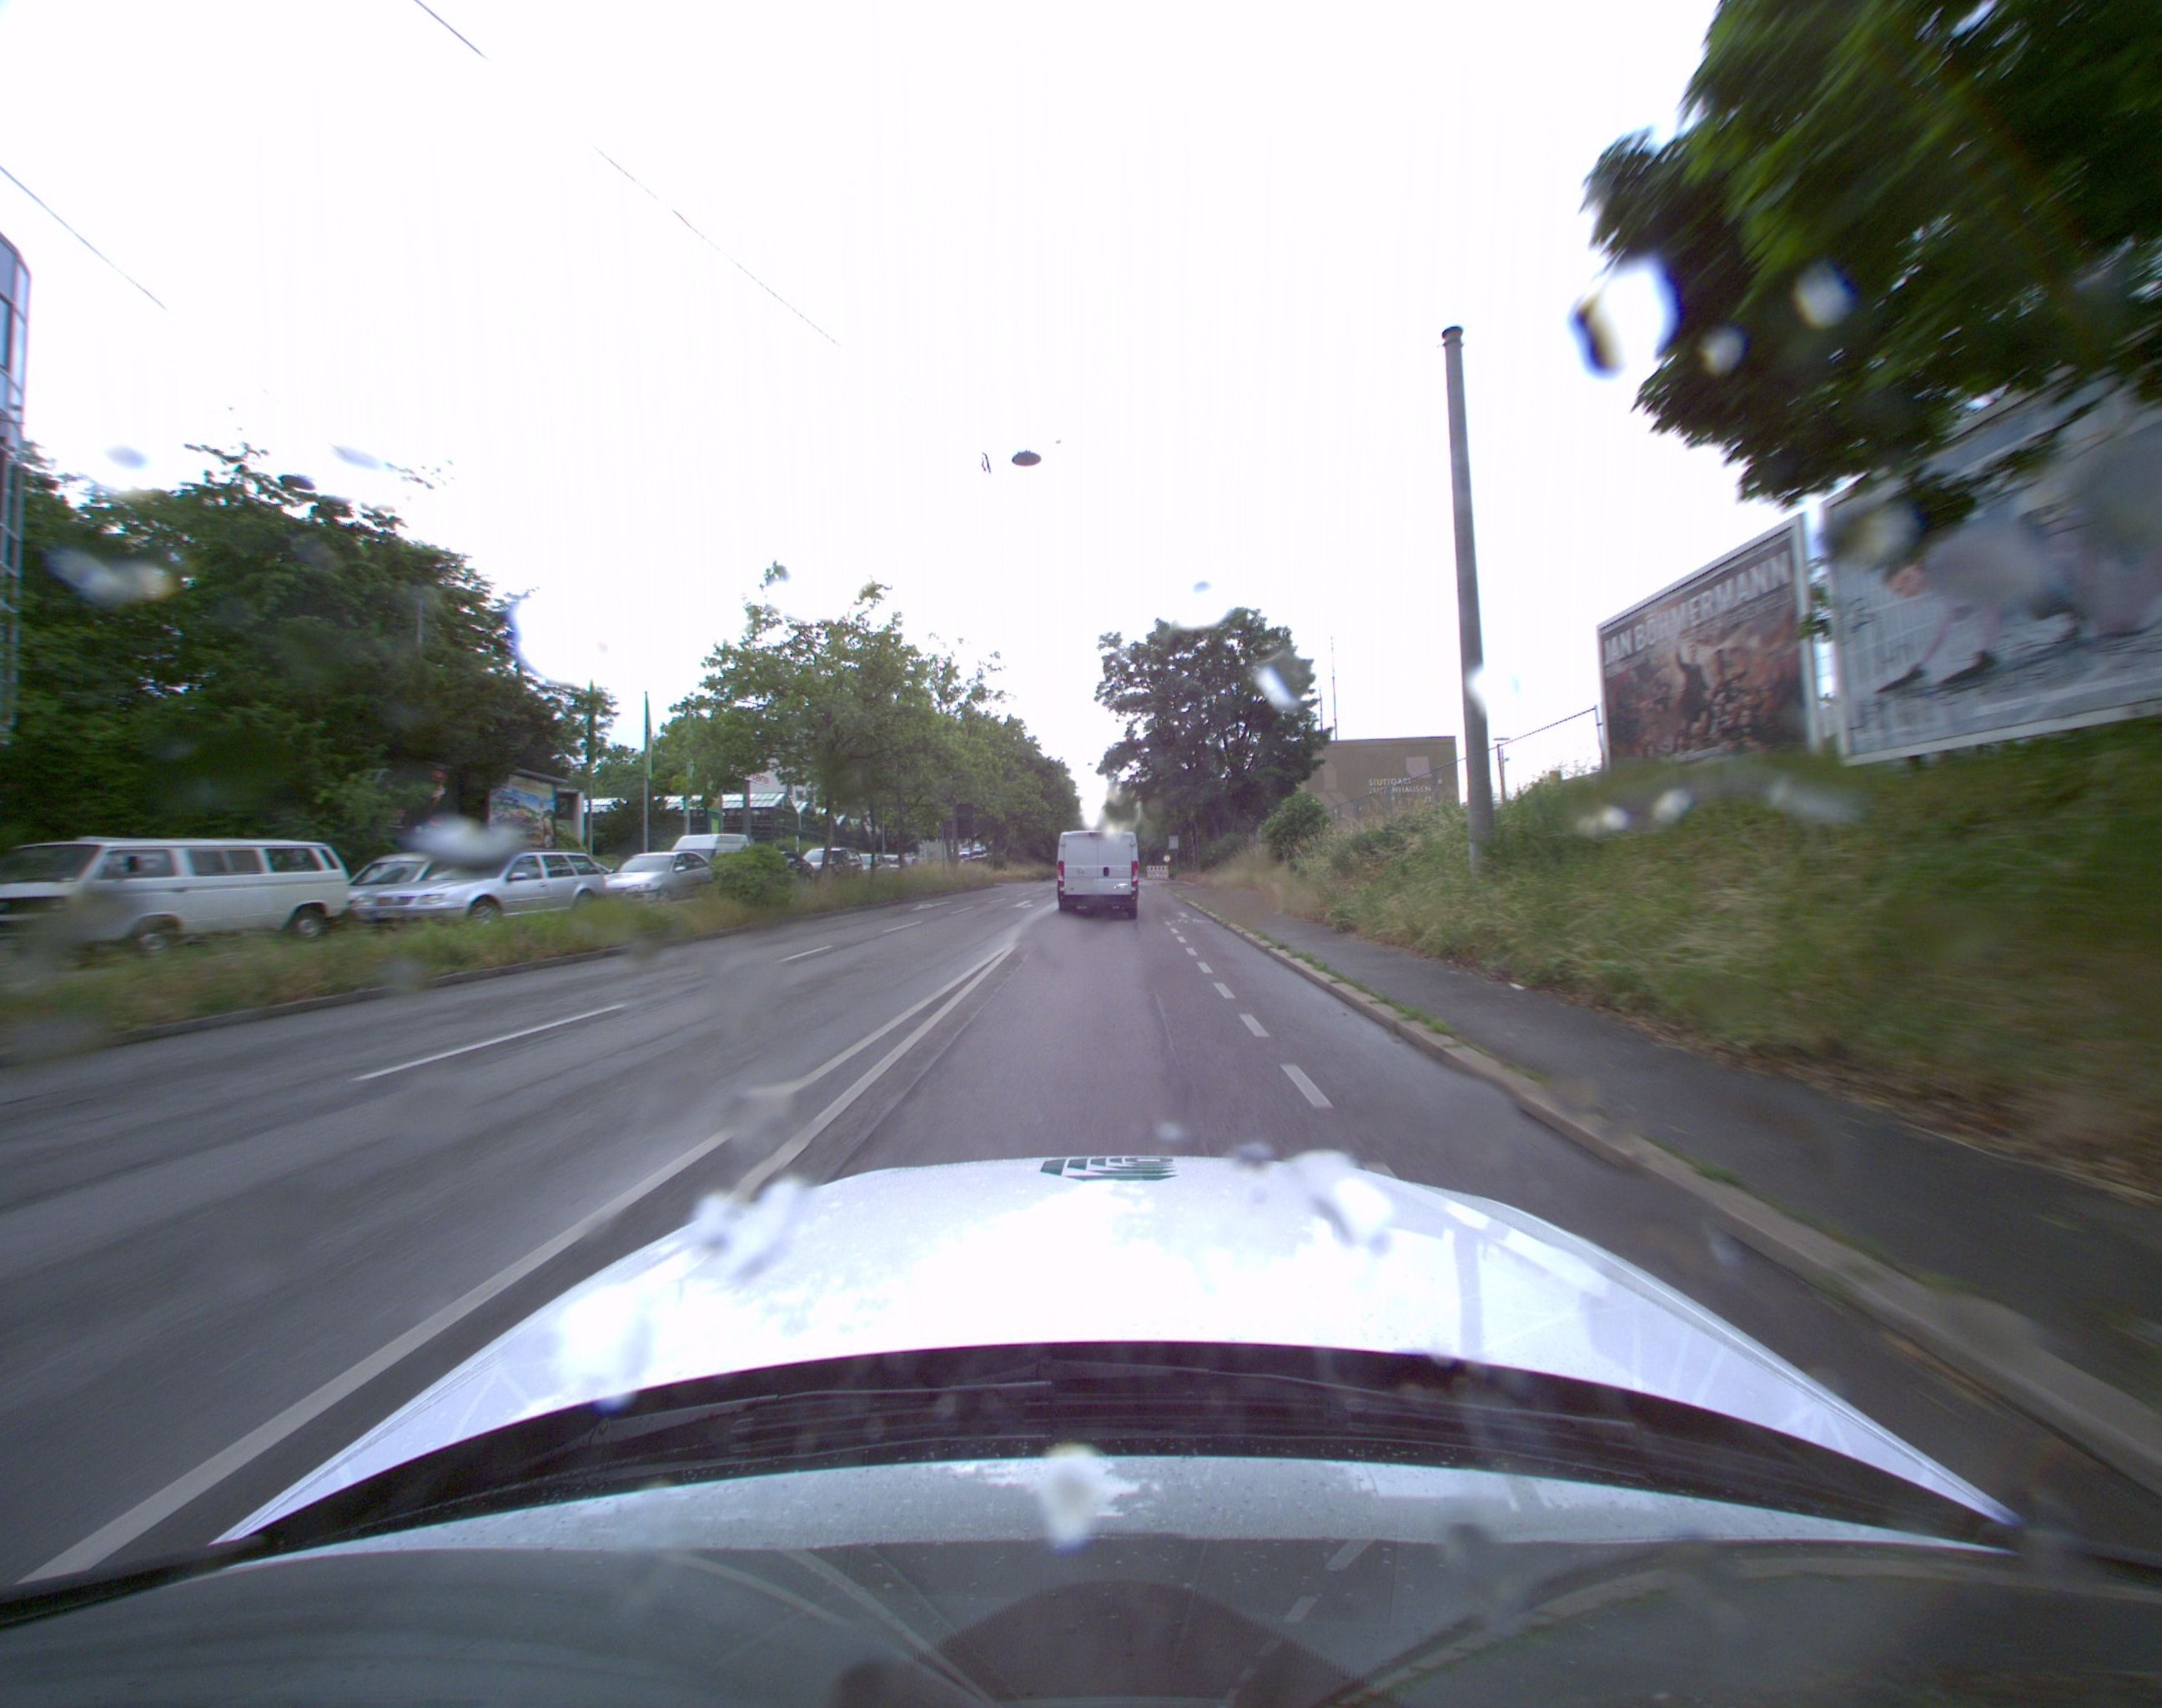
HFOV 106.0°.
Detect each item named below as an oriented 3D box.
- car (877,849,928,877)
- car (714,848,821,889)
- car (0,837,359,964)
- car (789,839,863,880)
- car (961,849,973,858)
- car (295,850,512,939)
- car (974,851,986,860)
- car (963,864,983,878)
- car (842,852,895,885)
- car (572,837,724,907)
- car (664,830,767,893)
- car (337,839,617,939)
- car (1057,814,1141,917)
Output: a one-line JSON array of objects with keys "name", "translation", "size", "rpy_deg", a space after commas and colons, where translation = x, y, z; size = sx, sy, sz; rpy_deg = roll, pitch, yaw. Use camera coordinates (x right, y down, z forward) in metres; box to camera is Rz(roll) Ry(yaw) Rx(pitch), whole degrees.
[{"name": "car", "translation": [-9.442, 0.532, 43.353], "size": [1.531, 1.293, 4.546], "rpy_deg": [-2, -3, 2]}, {"name": "car", "translation": [-10.234, 0.449, 26.931], "size": [1.691, 1.205, 4.221], "rpy_deg": [-2, 0, 2]}, {"name": "car", "translation": [-15.142, 0.647, 13.729], "size": [1.765, 1.746, 4.584], "rpy_deg": [-2, 0, 0]}, {"name": "car", "translation": [-9.987, 0.258, 32.145], "size": [1.648, 1.452, 3.645], "rpy_deg": [-2, -3, 1]}, {"name": "car", "translation": [-16.674, -0.013, 119.164], "size": [1.209, 1.133, 2.452], "rpy_deg": [-2, -3, 1]}, {"name": "car", "translation": [-14.914, 0.801, 18.231], "size": [1.586, 1.695, 3.781], "rpy_deg": [-2, 0, 0]}, {"name": "car", "translation": [-16.751, 0.222, 135.458], "size": [1.595, 1.250, 2.908], "rpy_deg": [-2, -3, -2]}, {"name": "car", "translation": [-9.473, 1.532, 71.547], "size": [1.346, 1.131, 2.751], "rpy_deg": [-2, -3, -1]}, {"name": "car", "translation": [-9.739, 0.694, 37.517], "size": [1.355, 1.395, 3.707], "rpy_deg": [-2, -3, 1]}, {"name": "car", "translation": [-10.717, 0.389, 20.503], "size": [1.586, 1.540, 3.992], "rpy_deg": [-2, 0, 0]}, {"name": "car", "translation": [-15.676, 0.289, 35.327], "size": [1.958, 2.443, 5.651], "rpy_deg": [-2, 0, -2]}, {"name": "car", "translation": [-10.673, 0.523, 14.898], "size": [1.641, 1.478, 4.445], "rpy_deg": [-2, 0, 2]}, {"name": "car", "translation": [0.518, 0.273, 22.499], "size": [2.042, 2.516, 4.945], "rpy_deg": [-1, 0, 2]}]
